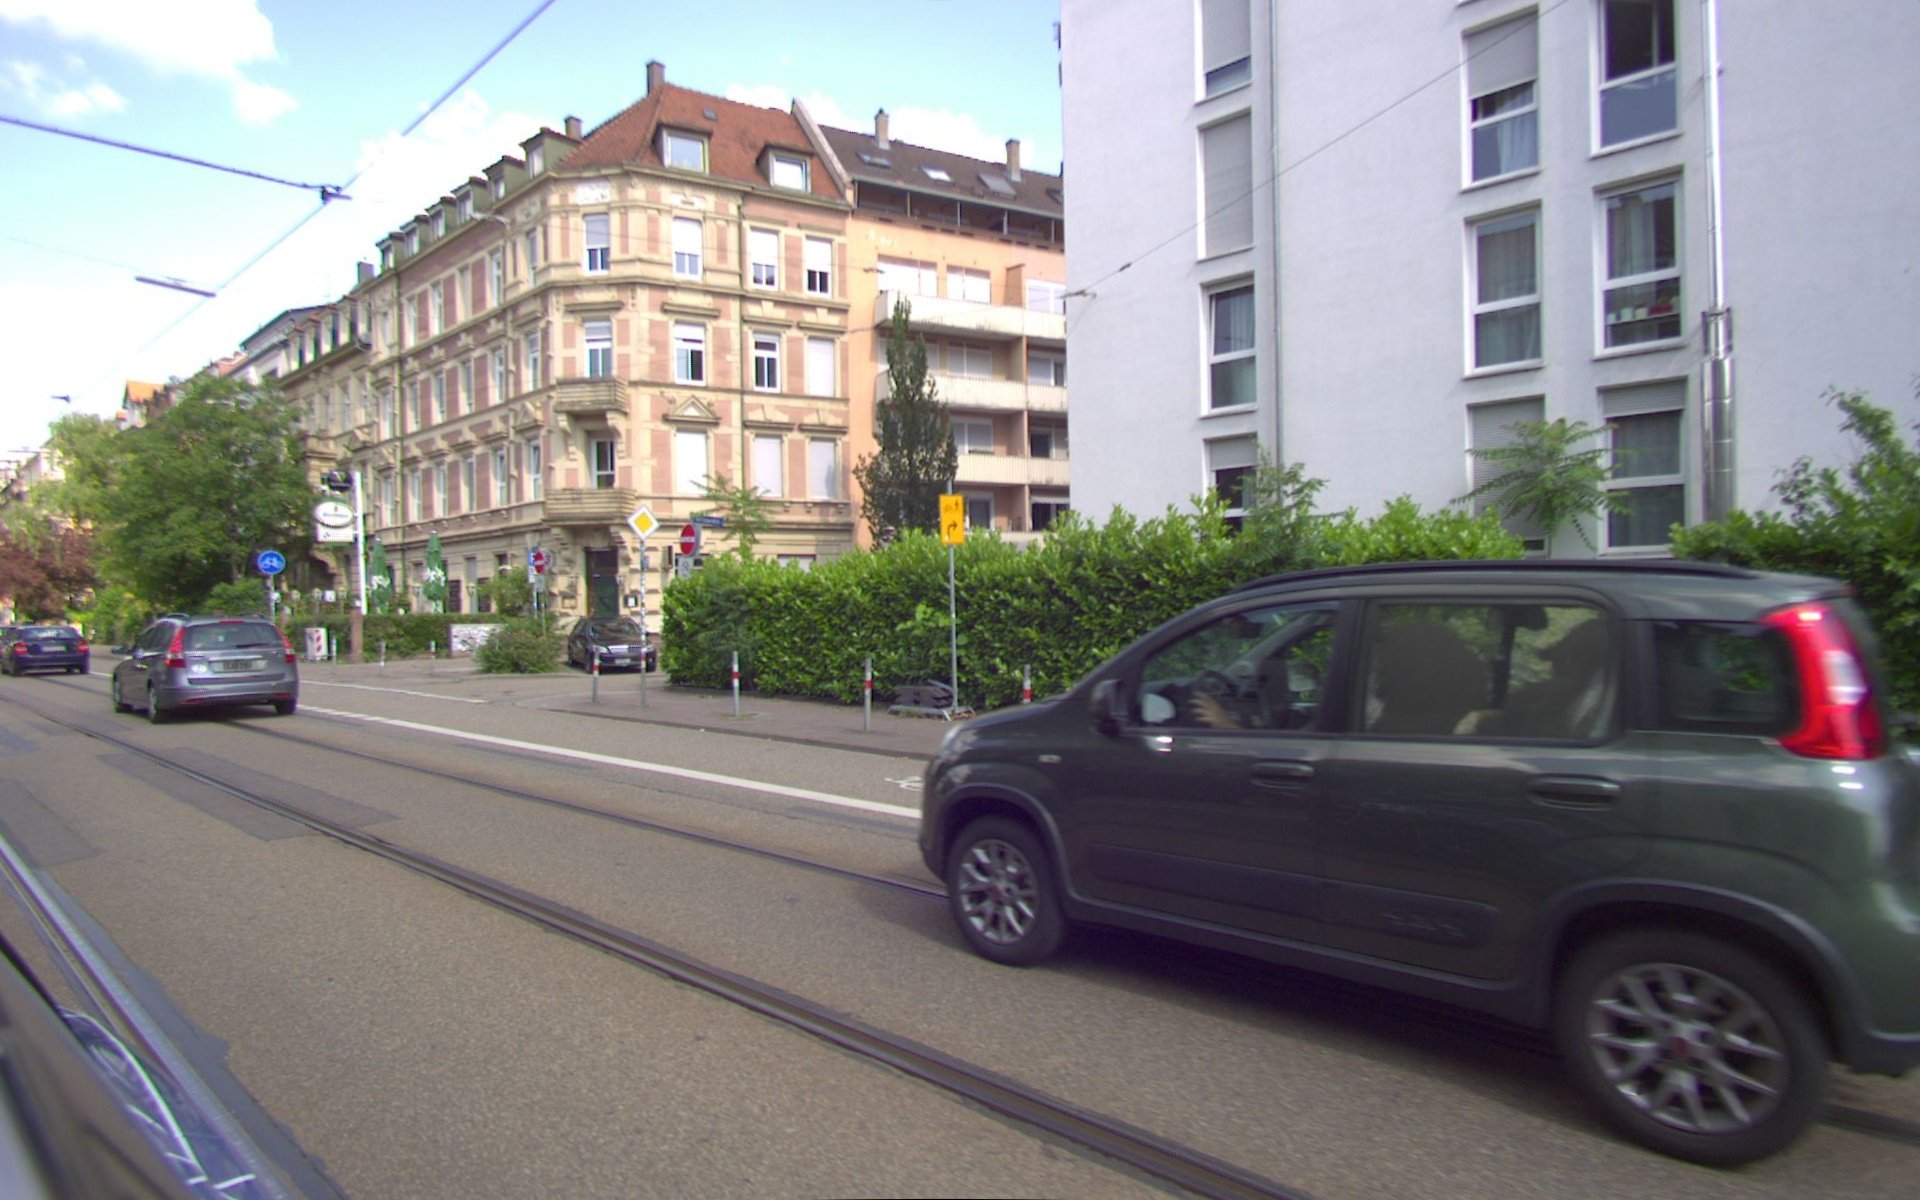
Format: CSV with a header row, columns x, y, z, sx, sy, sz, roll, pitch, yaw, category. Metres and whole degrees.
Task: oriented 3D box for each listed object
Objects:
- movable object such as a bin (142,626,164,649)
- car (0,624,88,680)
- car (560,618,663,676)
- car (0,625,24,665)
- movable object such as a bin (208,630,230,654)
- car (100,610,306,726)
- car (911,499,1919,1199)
x,y,z,sx,sy,sz,roll,pitch,yaw,category
-41.513,1.924,52.067,0.733,1.116,0.765,-2,-1,41,movable object such as a bin
-26.223,1.435,28.768,4.127,1.418,1.611,-2,0,41,car
-9.681,1.214,27.831,1.861,1.375,4.978,-1,0,-28,car
-36.607,1.683,38.223,3.936,1.451,1.577,-2,-2,43,car
-29.022,1.644,39.634,0.640,0.932,0.572,-2,0,41,movable object such as a bin
-11.722,0.953,15.573,4.275,1.552,1.709,-1,-1,41,car
1.755,0.581,3.644,3.820,1.568,1.614,-2,-1,42,car
